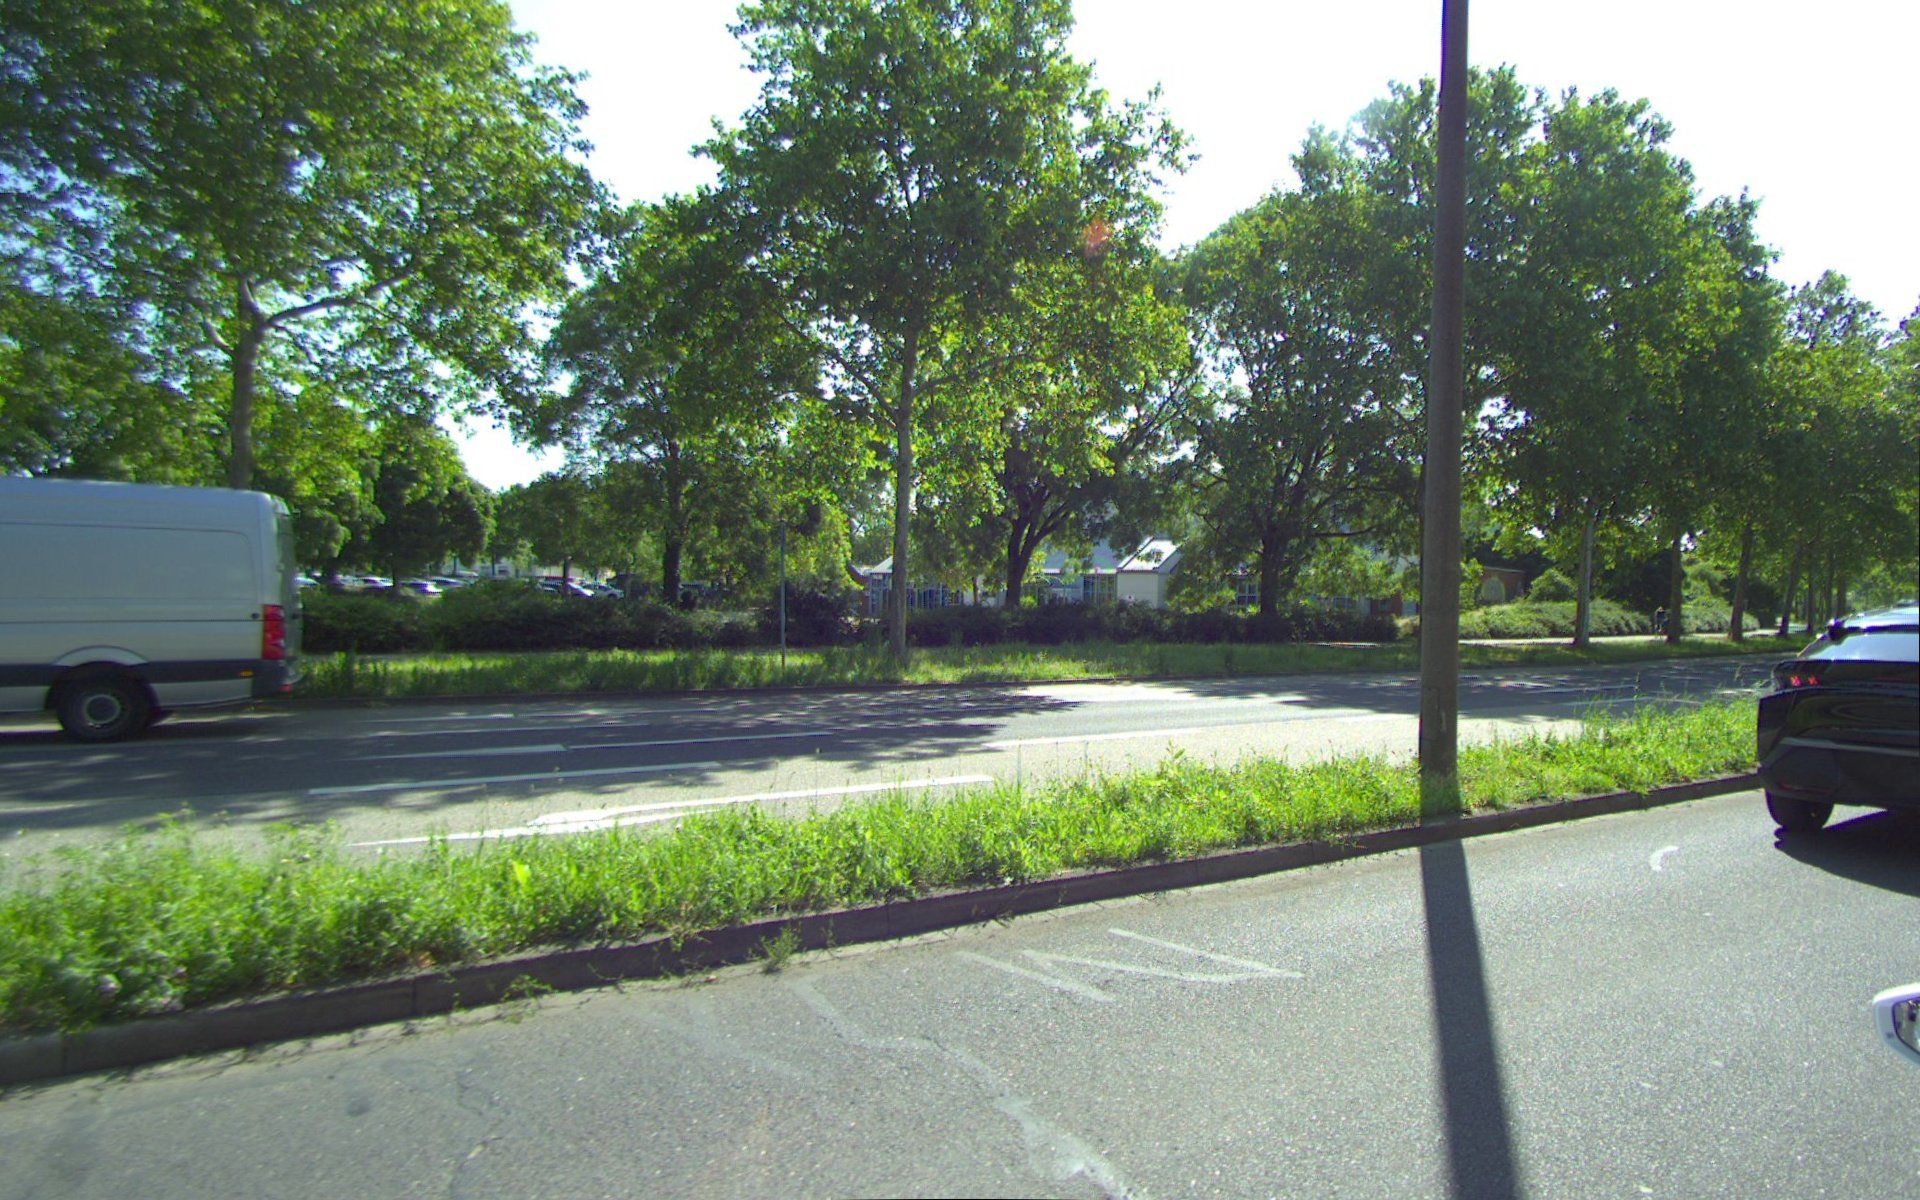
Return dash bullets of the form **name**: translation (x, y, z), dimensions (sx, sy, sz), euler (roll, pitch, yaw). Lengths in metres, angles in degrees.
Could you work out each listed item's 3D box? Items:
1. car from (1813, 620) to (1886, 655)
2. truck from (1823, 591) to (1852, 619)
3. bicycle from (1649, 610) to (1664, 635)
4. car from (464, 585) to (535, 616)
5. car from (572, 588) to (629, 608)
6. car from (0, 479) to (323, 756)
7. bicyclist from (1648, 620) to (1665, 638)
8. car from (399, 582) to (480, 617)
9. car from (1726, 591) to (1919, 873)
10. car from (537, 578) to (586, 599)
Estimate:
- **car**: translation (42.056, 1.730, 47.456), dimensions (4.355, 1.577, 1.781), euler (1, -1, -37)
- **truck**: translation (114.935, 0.650, 131.616), dimensions (2.420, 3.496, 7.067), euler (3, 3, 38)
- **bicycle**: translation (39.378, 1.256, 56.762), dimensions (0.946, 1.403, 0.425), euler (1, 0, -39)
- **car**: translation (-30.819, 0.024, 67.303), dimensions (3.920, 2.040, 1.818), euler (1, 0, 2)
- **car**: translation (-28.766, -0.184, 80.503), dimensions (3.922, 1.511, 1.817), euler (1, 0, -1)
- **car**: translation (-10.622, 0.160, 9.953), dimensions (7.132, 2.648, 2.051), euler (1, -1, -30)
- **bicyclist**: translation (39.356, 1.630, 56.750), dimensions (1.413, 1.027, 0.425), euler (1, 0, -39)
- **car**: translation (-31.512, -0.004, 60.903), dimensions (3.920, 2.040, 1.818), euler (1, 0, 2)
- **car**: translation (7.682, 0.848, 7.350), dimensions (4.385, 1.719, 1.862), euler (1, -1, -32)
- **car**: translation (-37.405, -1.036, 94.215), dimensions (3.850, 1.863, 1.770), euler (1, 0, 2)
